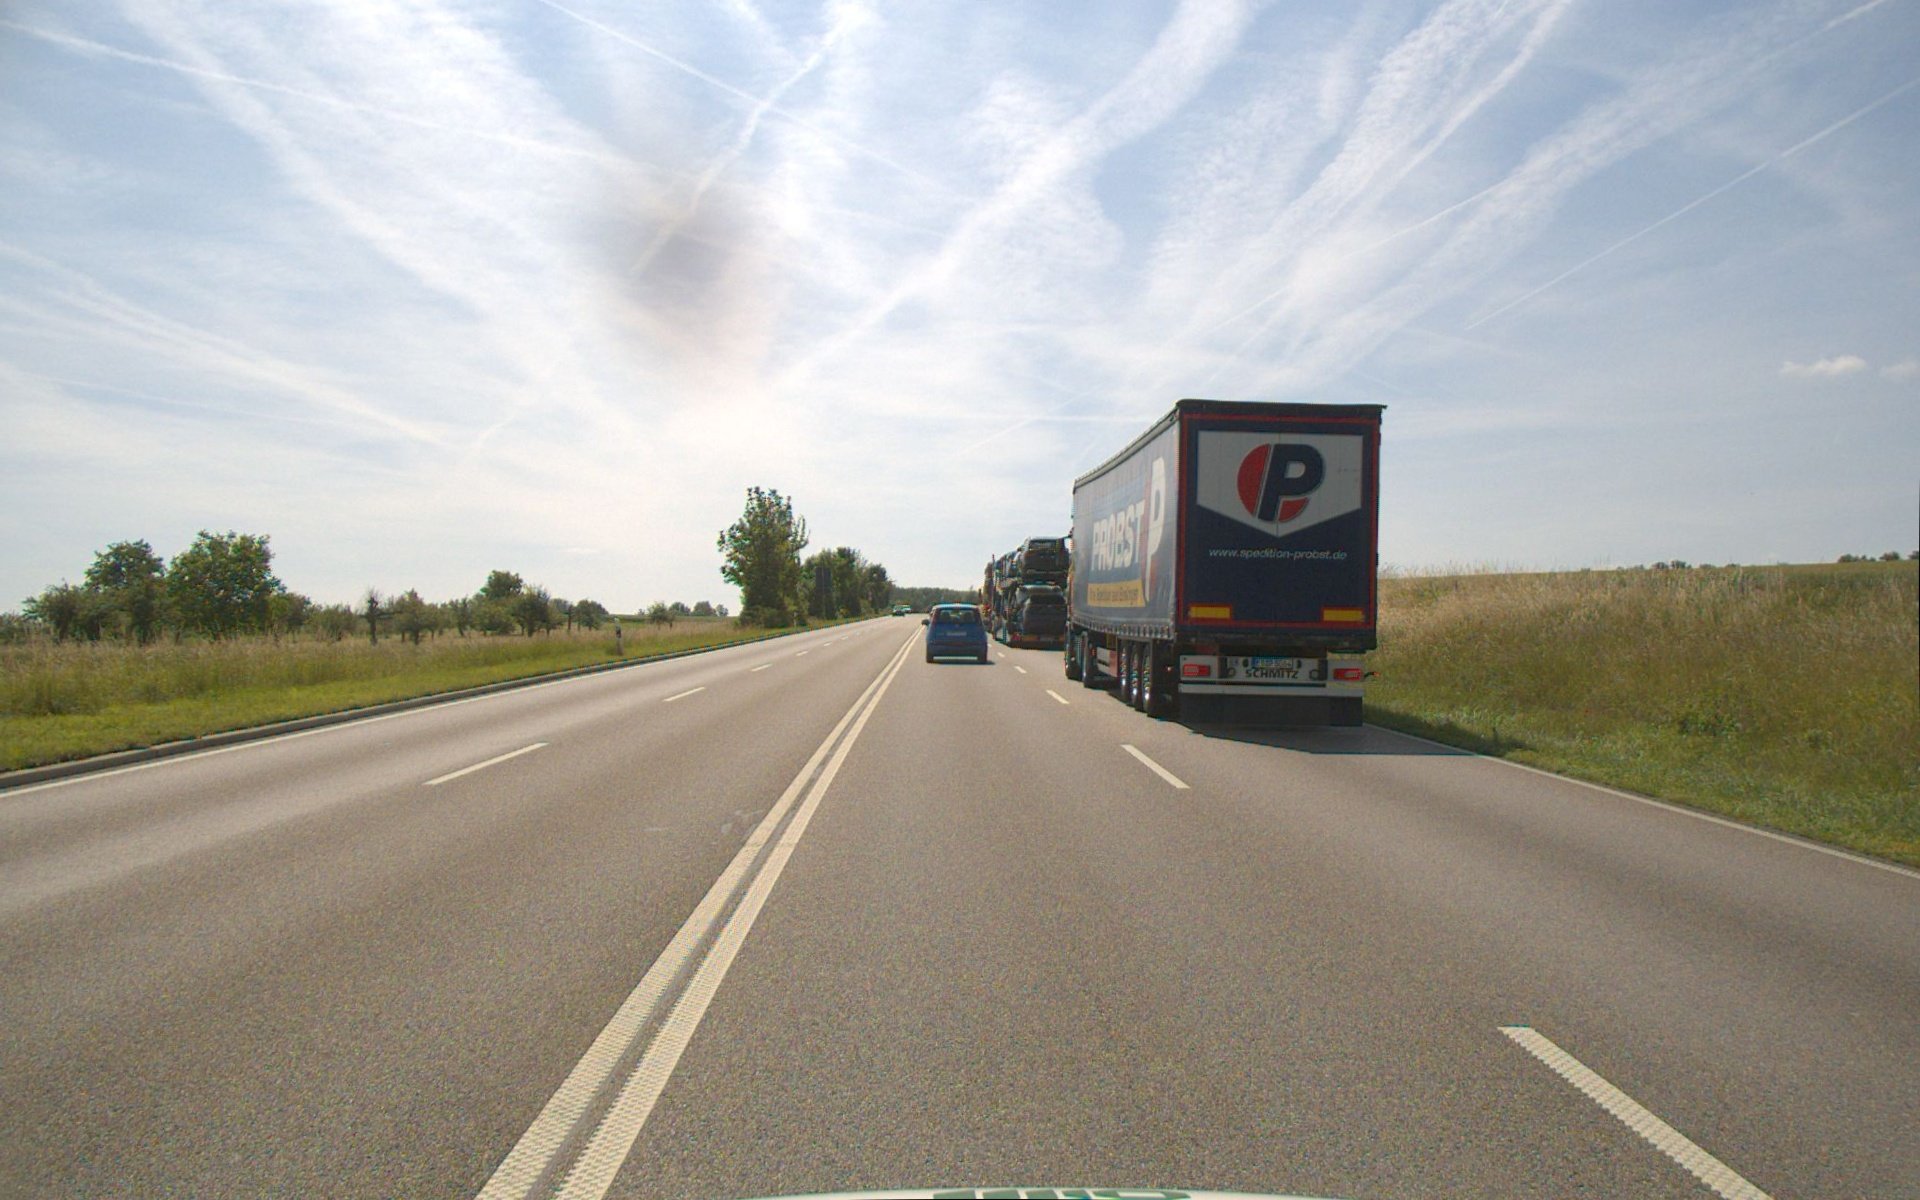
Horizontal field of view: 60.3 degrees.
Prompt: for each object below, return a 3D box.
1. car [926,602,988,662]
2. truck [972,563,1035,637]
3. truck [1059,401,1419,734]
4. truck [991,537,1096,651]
[{"bbox_3d":[-0.038,0.856,45.542,1.598,1.558,3.915,1,0,1],"label":"car"},{"bbox_3d":[2.443,0.073,99.595,2.985,3.979,18.392,1,0,-1],"label":"truck"},{"bbox_3d":[3.852,-0.348,27.811,2.985,3.979,15.609,1,0,-1],"label":"truck"},{"bbox_3d":[3.100,-0.161,67.431,2.985,3.979,18.392,1,0,-1],"label":"truck"}]
